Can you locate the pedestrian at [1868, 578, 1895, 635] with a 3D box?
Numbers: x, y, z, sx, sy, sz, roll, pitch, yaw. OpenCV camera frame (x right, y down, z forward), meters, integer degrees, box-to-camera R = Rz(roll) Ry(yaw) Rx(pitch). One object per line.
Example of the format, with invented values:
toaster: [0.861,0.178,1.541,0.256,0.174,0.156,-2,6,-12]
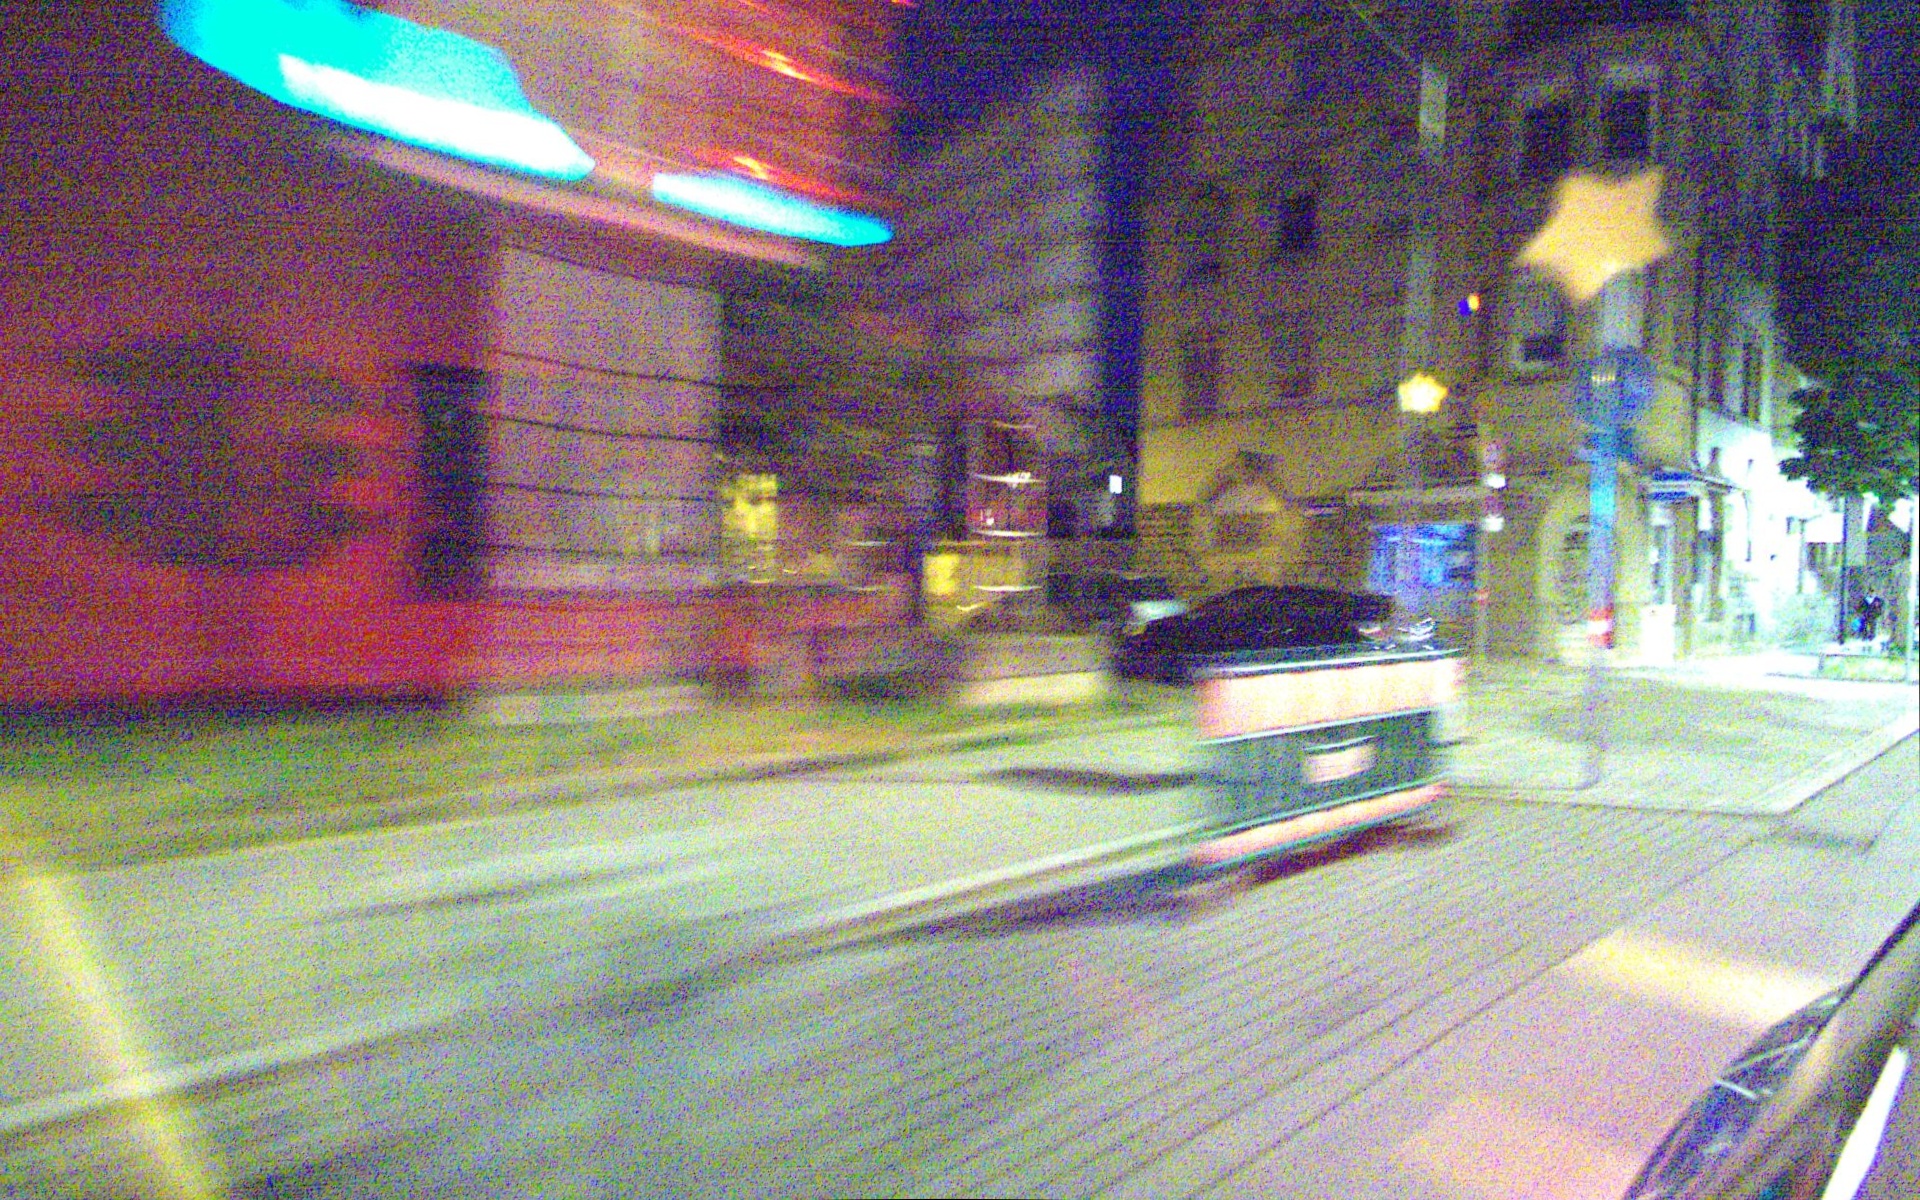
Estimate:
pedestrian: [28.529,0.182,31.336,0.561,1.730,0.478,0,2,-39]

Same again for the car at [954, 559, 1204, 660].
car: [1.982,0.074,17.862,1.821,1.485,4.197,0,3,-43]

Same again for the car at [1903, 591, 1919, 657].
car: [23.520,0.562,23.531,3.927,1.472,1.741,0,2,-38]

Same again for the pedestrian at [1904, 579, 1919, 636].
pedestrian: [29.113,0.223,30.726,0.692,1.730,0.508,0,2,-40]

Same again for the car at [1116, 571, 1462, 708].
car: [4.218,0.387,13.465,1.821,1.439,4.021,-2,4,-41]
